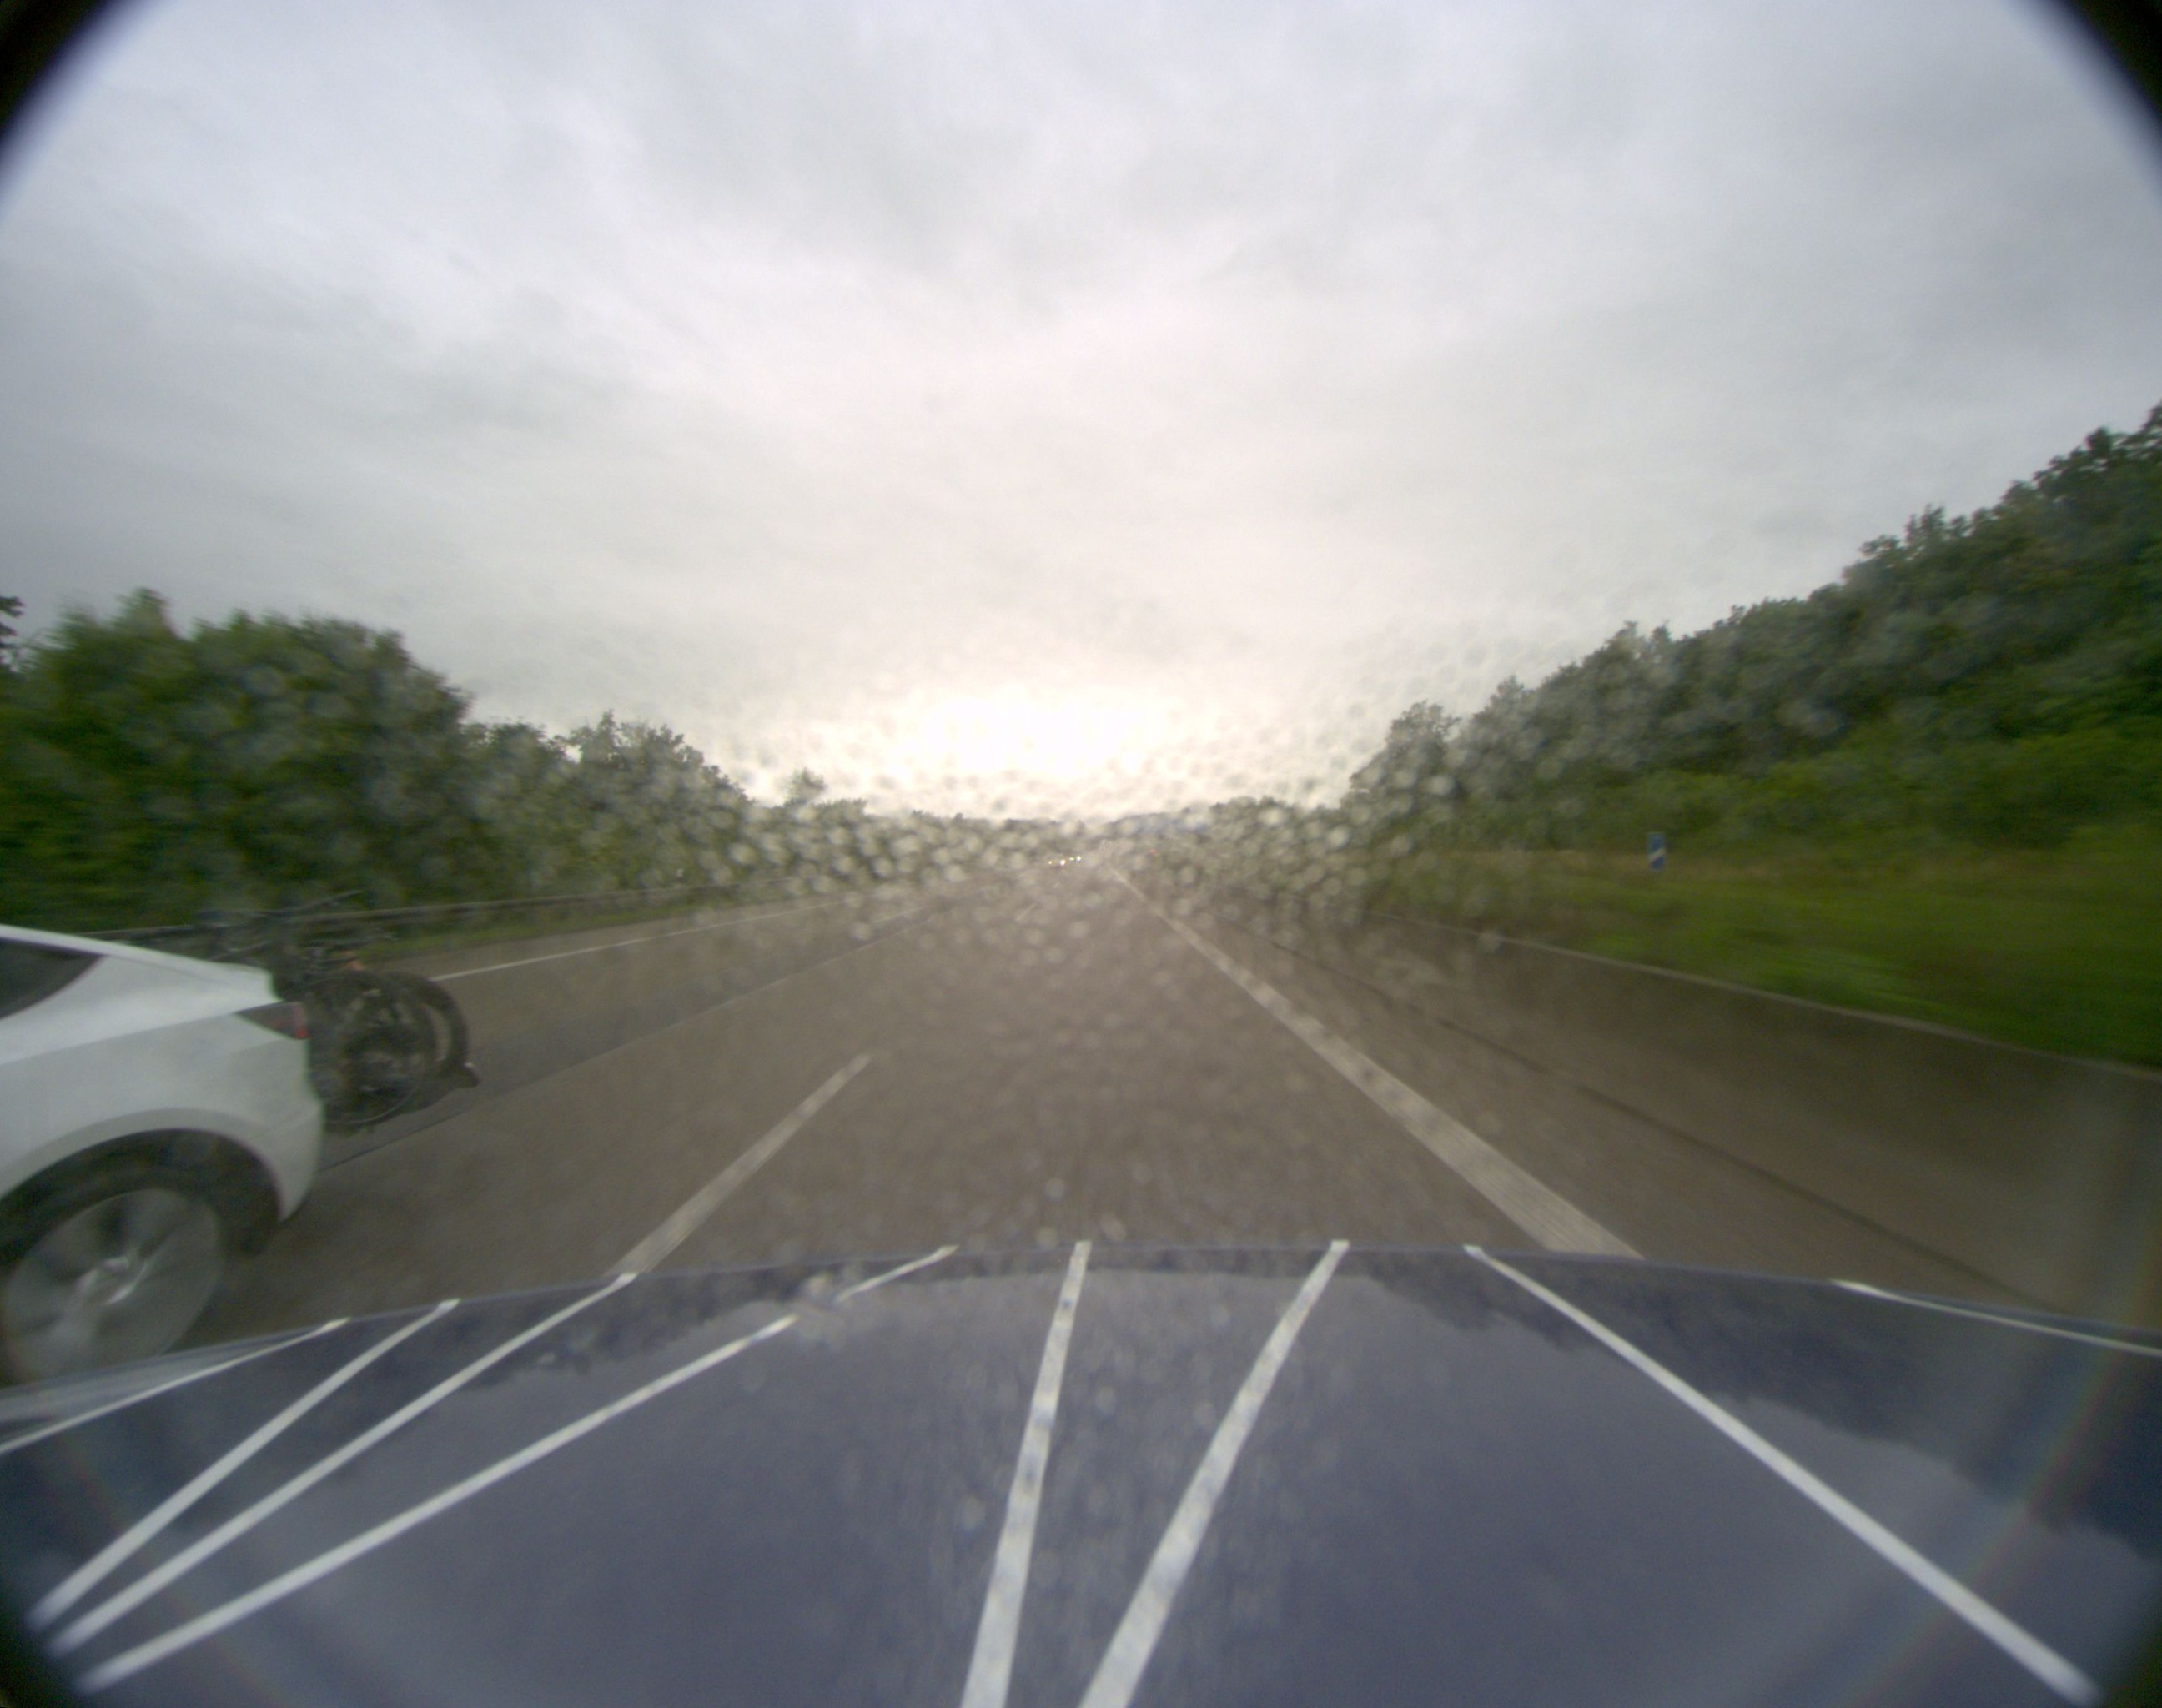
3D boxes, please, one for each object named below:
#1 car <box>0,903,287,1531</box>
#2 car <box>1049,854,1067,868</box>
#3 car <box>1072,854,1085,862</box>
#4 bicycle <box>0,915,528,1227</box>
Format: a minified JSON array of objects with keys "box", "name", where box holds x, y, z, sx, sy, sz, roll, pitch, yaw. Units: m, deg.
[{"box":[-3.711,0.992,0.148,1.865,1.559,4.963,-2,0,0],"name":"car"},{"box":[-2.568,0.822,86.341,1.932,1.521,4.297,0,0,0],"name":"car"},{"box":[-0.477,0.687,140.709,2.008,1.456,4.001,0,1,6],"name":"car"},{"box":[-3.707,0.883,3.387,1.758,1.084,0.913,-1,2,-1],"name":"bicycle"}]
